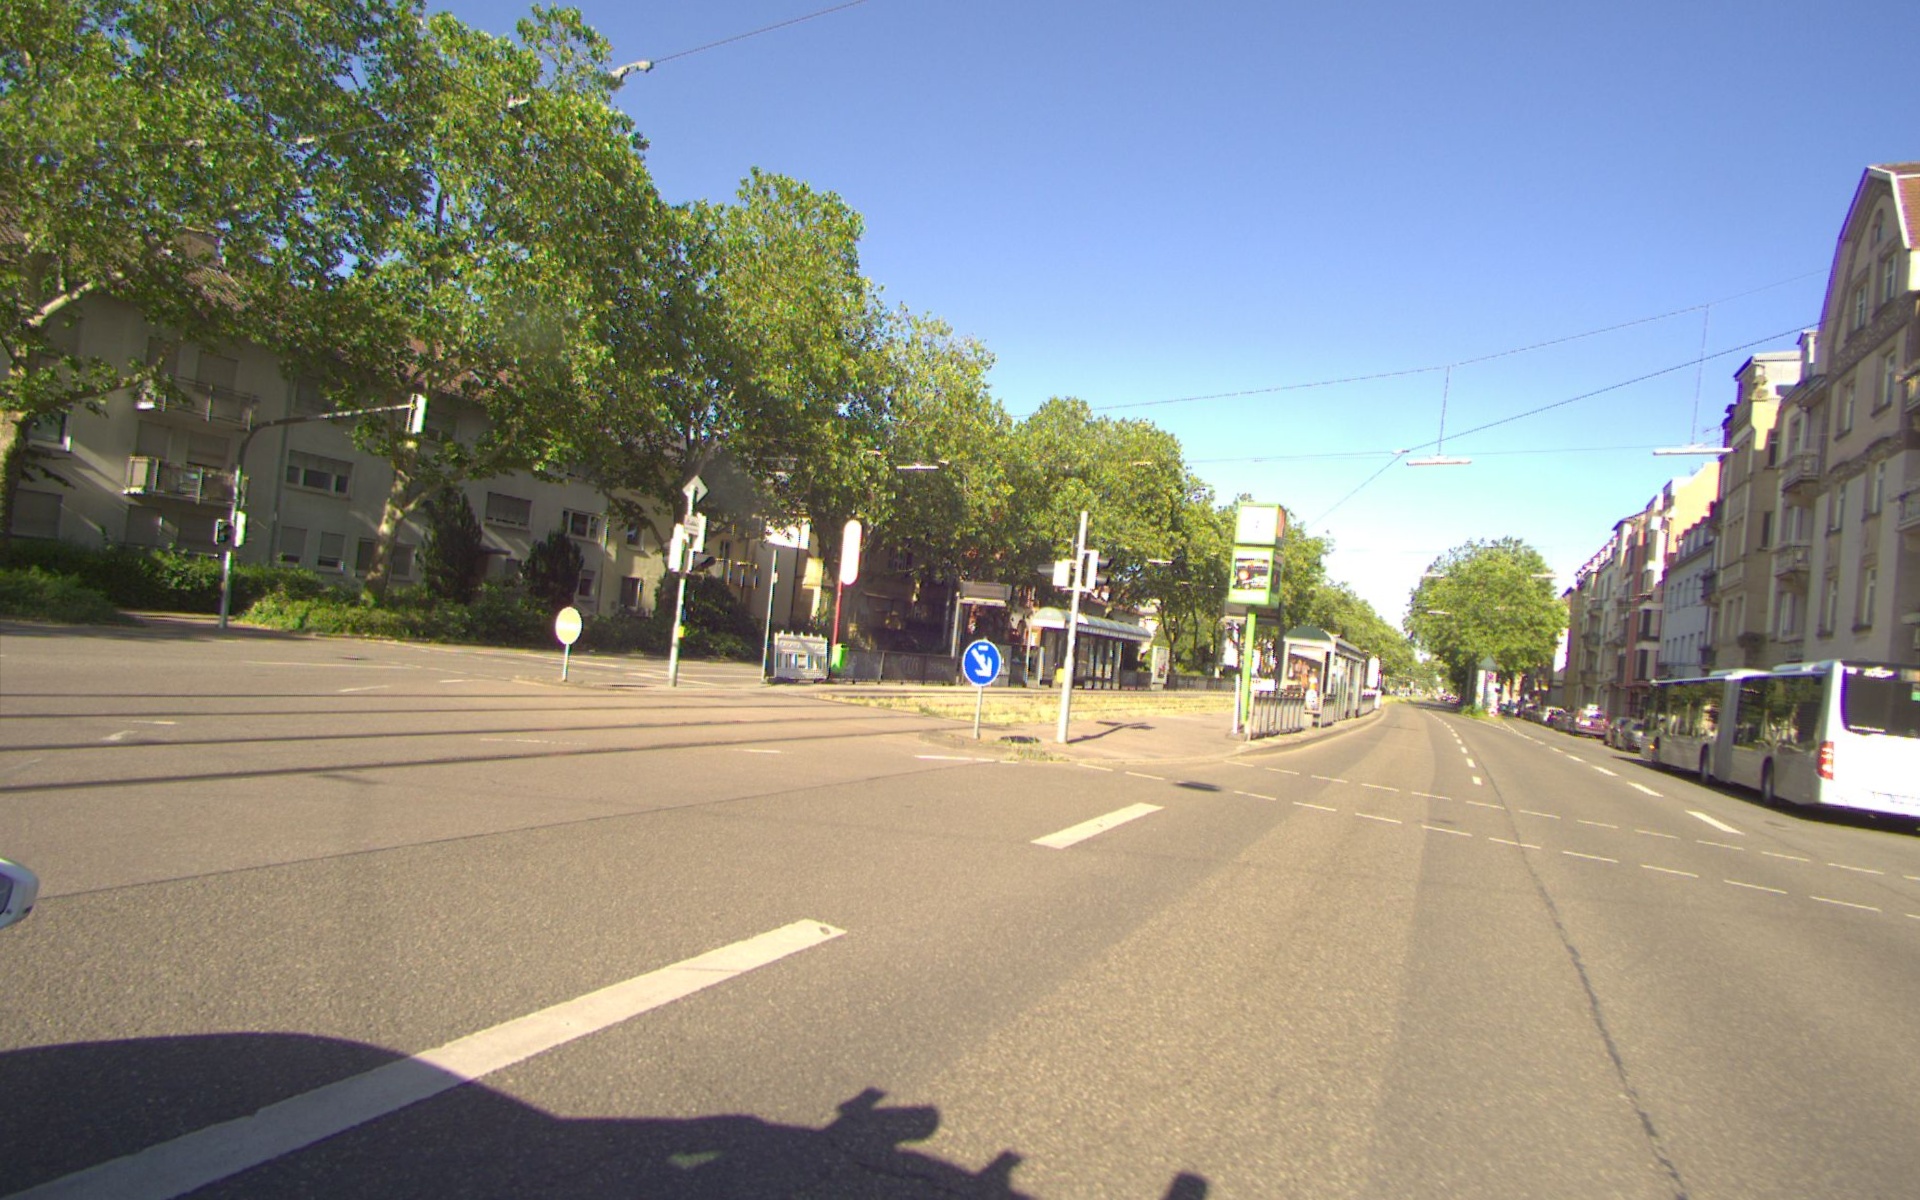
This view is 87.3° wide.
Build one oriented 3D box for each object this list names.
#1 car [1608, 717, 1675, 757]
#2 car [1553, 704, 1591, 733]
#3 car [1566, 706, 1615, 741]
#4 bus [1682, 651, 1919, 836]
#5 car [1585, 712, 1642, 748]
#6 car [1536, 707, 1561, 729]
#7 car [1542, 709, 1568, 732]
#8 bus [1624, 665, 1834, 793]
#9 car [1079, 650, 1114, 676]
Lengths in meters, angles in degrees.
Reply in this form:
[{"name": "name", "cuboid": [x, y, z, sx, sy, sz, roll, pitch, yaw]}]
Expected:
[{"name": "car", "cuboid": [31.238, 6.262, 46.199, 1.720, 1.436, 4.000, 6, -2, 24]}, {"name": "car", "cuboid": [44.471, 8.592, 73.154, 1.769, 1.810, 4.000, 6, -2, 25]}, {"name": "car", "cuboid": [40.885, 7.976, 65.327, 1.994, 1.916, 4.000, 6, -2, 25]}, {"name": "bus", "cuboid": [19.212, 3.057, 22.440, 3.078, 3.068, 10.679, 6, -2, 27]}, {"name": "car", "cuboid": [33.392, 6.619, 51.515, 1.720, 1.436, 4.000, 6, -2, 24]}, {"name": "car", "cuboid": [50.940, 10.169, 87.113, 1.534, 1.625, 3.573, 6, -2, 28]}, {"name": "car", "cuboid": [48.679, 9.844, 82.358, 1.534, 1.625, 3.573, 6, -2, 28]}, {"name": "bus", "cuboid": [23.951, 3.913, 32.100, 3.041, 3.051, 10.861, 6, -2, 27]}, {"name": "car", "cuboid": [13.361, 6.183, 98.183, 1.965, 2.035, 4.003, 6, -4, 27]}]
